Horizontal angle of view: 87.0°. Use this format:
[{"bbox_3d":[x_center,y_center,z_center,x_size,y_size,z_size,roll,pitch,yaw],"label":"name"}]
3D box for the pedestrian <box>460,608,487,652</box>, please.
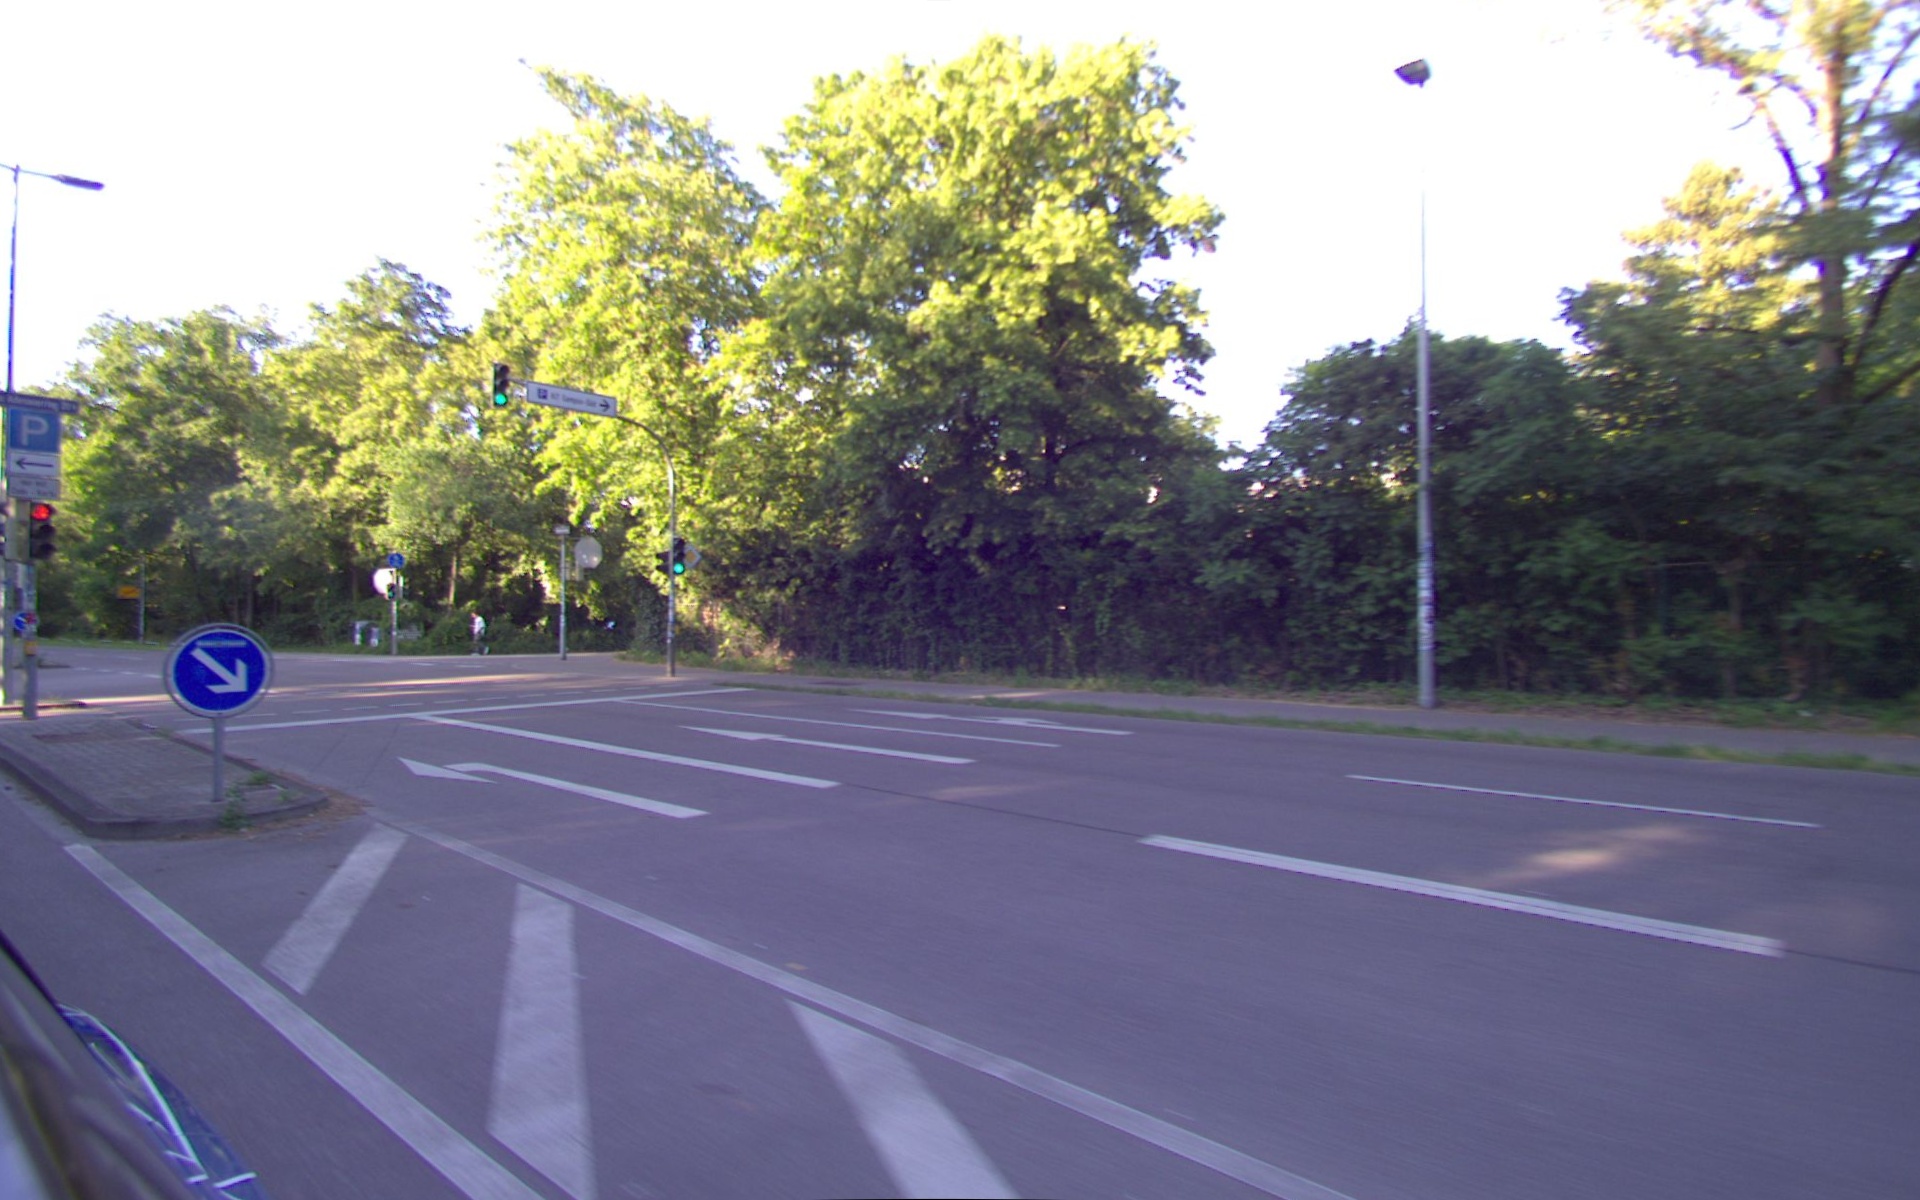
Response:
[{"bbox_3d":[-18.967,1.164,39.459,0.818,1.724,0.641,-1,-1,38],"label":"pedestrian"}]
